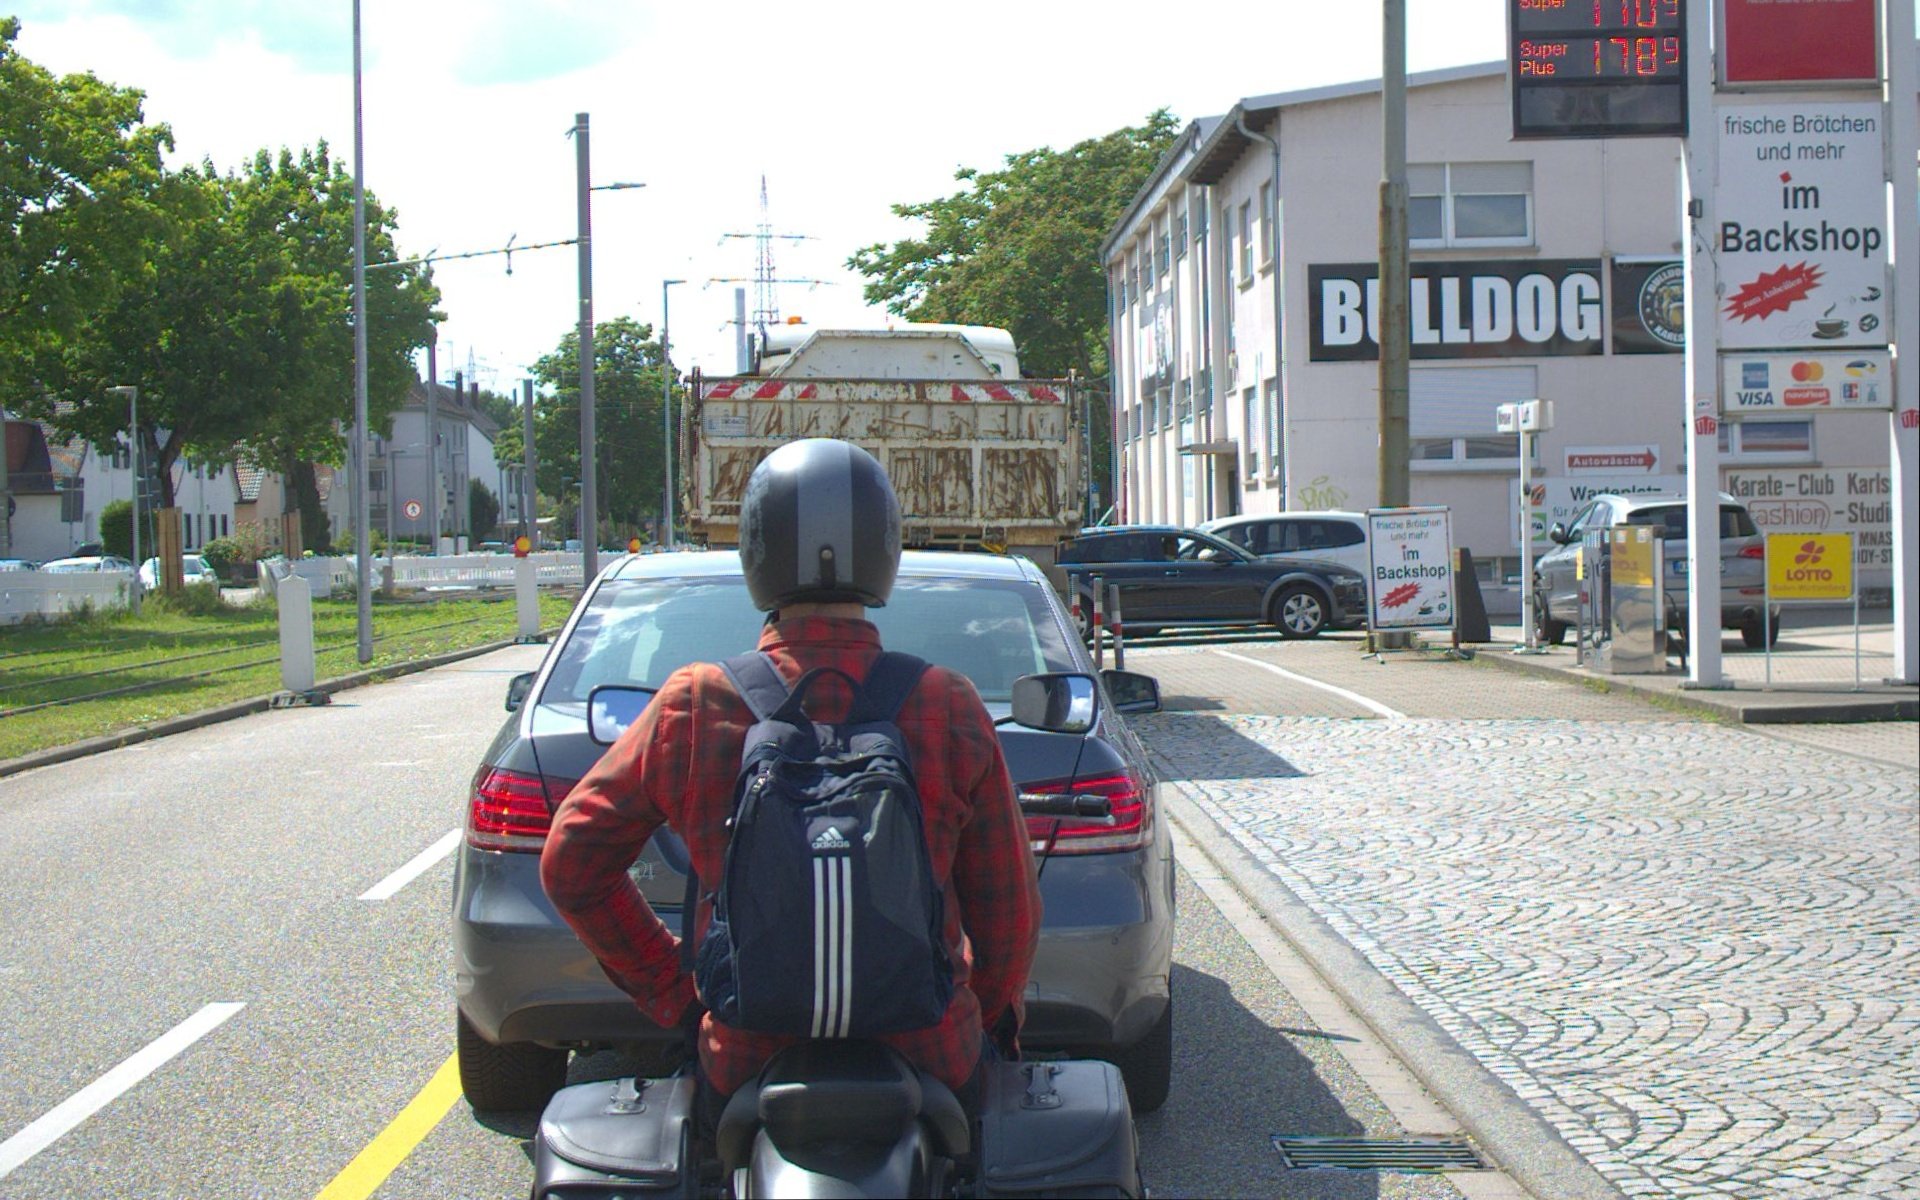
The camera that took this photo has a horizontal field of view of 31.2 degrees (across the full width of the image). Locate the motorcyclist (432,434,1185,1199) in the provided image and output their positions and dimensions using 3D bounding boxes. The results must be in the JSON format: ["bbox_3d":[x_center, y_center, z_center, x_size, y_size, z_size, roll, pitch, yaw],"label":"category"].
[{"bbox_3d":[-0.208,0.590,5.083,0.969,1.627,1.215,1,1,-1],"label":"motorcyclist"}]

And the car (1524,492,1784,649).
[{"bbox_3d":[7.321,-0.340,36.643,1.832,1.530,4.010,-1,1,-2],"label":"car"}]

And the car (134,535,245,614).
[{"bbox_3d":[-17.841,-0.619,79.760,1.698,1.733,3.860,-1,1,0],"label":"car"}]

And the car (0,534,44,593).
[{"bbox_3d":[-29.271,-1.107,104.585,1.698,1.733,4.062,-1,1,0],"label":"car"}]

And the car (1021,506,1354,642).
[{"bbox_3d":[2.869,-0.342,43.678,4.105,1.619,1.686,-1,1,3],"label":"car"}]

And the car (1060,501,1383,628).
[{"bbox_3d":[3.547,-0.500,47.029,4.104,1.619,1.686,-1,1,-8],"label":"car"}]

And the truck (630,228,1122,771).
[{"bbox_3d":[-0.637,-0.714,25.466,2.970,3.293,8.408,-1,1,-2],"label":"truck"}]

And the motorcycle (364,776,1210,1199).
[{"bbox_3d":[-0.218,0.865,5.206,0.976,1.010,2.432,1,1,-1],"label":"motorcycle"}]

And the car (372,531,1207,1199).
[{"bbox_3d":[-0.435,0.569,9.707,1.832,1.474,4.010,-1,1,-2],"label":"car"}]

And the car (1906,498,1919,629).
[{"bbox_3d":[11.785,-0.400,37.242,1.832,1.474,4.010,-1,1,-2],"label":"car"}]

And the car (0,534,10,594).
[{"bbox_3d":[-28.675,-0.996,98.575,1.698,1.733,4.062,-1,1,0],"label":"car"}]
